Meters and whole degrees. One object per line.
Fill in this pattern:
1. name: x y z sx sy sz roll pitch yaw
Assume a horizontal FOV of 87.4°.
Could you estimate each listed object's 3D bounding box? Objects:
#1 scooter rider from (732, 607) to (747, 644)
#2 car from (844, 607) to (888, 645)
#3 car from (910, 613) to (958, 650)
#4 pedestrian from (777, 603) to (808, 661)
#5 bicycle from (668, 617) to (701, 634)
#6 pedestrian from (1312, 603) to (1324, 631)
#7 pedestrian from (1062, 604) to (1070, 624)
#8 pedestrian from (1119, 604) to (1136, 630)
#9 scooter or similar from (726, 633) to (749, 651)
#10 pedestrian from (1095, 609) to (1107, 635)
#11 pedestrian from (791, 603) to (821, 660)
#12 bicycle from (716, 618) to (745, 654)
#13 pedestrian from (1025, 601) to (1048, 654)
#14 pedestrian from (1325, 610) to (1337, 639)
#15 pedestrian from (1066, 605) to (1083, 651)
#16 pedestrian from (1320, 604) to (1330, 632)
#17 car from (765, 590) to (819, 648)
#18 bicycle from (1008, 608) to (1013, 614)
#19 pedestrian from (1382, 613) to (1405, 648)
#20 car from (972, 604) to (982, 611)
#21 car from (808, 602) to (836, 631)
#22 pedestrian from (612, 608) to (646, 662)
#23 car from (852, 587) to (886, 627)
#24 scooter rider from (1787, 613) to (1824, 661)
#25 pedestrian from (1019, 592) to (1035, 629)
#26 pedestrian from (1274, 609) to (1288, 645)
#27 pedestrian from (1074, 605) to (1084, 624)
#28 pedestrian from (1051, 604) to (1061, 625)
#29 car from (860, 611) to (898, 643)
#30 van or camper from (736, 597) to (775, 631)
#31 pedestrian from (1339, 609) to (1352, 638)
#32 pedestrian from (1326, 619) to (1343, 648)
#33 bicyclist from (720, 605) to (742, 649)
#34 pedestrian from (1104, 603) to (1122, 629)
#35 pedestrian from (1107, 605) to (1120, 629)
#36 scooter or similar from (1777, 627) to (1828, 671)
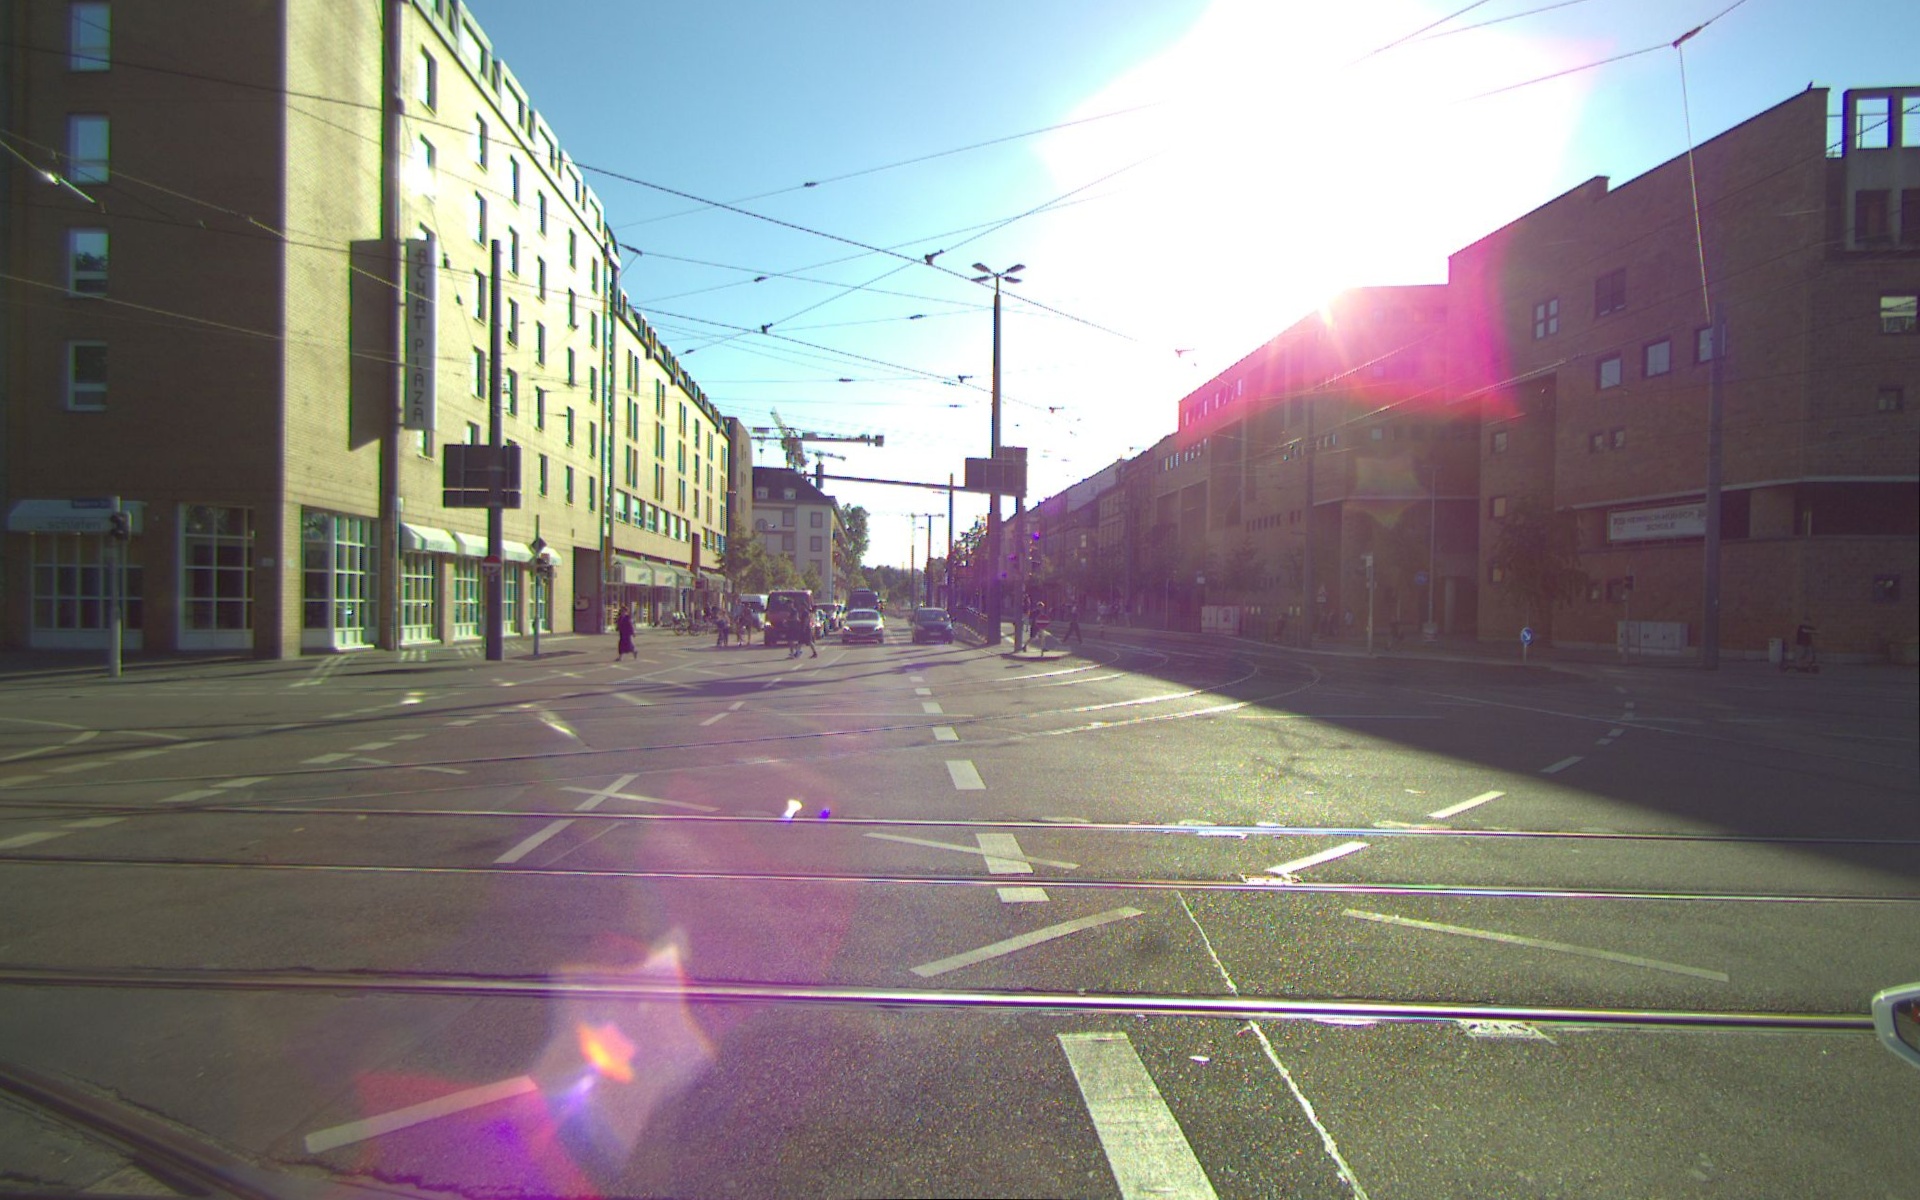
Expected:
1. scooter rider: -10.788 1.252 49.158 0.523 1.778 0.571 0 0 19
2. car: -4.280 1.142 45.219 1.857 1.553 3.995 0 0 -7
3. car: -1.169 1.340 44.093 1.730 1.467 3.995 0 0 -7
4. pedestrian: -5.078 0.970 30.458 0.629 1.740 0.778 0 0 23
5. bicycle: -15.618 1.446 57.028 1.695 0.993 0.642 0 0 13
6. pedestrian: 22.603 1.053 63.404 0.528 1.779 0.464 0 0 -7
7. pedestrian: 9.026 1.193 85.481 0.497 1.755 0.651 0 0 -6
8. pedestrian: 10.621 1.076 63.764 0.874 1.694 0.671 0 0 -7
9. scooter or similar: -10.833 2.063 49.014 0.534 0.842 1.239 0 0 19
10. pedestrian: 9.421 1.477 66.987 0.646 1.694 0.671 0 0 -7
11. pedestrian: -4.809 0.982 31.371 0.629 1.740 0.778 0 0 23
12. bicycle: -9.553 1.489 41.931 0.915 1.461 2.101 0 -1 -6
13. pedestrian: 2.535 0.903 33.305 0.613 1.724 0.748 0 0 -9
14. pedestrian: 23.098 1.530 62.502 0.527 1.779 0.696 0 0 5
15. pedestrian: 4.405 1.064 38.679 0.628 1.740 0.778 0 0 8
16. pedestrian: 23.286 1.156 64.094 0.527 1.779 0.422 0 0 -2
17. car: -7.132 0.808 43.035 2.046 2.319 5.259 0 -1 -7
18. bicycle: 10.983 2.412 218.346 0.650 1.421 2.350 0 1 -6
19. pedestrian: 19.383 1.352 44.943 0.701 1.559 0.852 0 0 3
20. car: 3.813 1.592 223.376 1.820 1.477 4.153 0 0 -4
21. car: -9.578 1.139 69.751 1.857 1.892 4.310 0 1 -7
22. pedestrian: -9.970 1.043 30.276 0.859 1.574 0.541 0 0 -32
23. car: -5.623 0.424 61.890 2.014 2.389 4.915 0 0 -6
24. scooter rider: 26.349 1.140 31.305 0.499 1.480 0.720 0 0 -13
25. pedestrian: 3.122 0.489 46.829 0.666 1.706 0.576 0 0 -1
26. pedestrian: 13.758 1.146 43.073 0.481 1.559 0.551 0 0 9
27. pedestrian: 9.657 1.165 81.661 0.662 1.583 0.905 0 0 -6
28. pedestrian: 8.109 1.196 84.724 0.708 1.755 0.651 0 0 -6
29. car: -4.395 1.407 54.004 1.857 1.553 3.995 0 0 -7
30. van or camper: -14.720 0.955 72.541 1.962 2.199 5.611 0 1 -4
31. pedestrian: 23.782 1.447 61.955 0.527 1.779 0.696 0 0 5
32. pedestrian: 22.949 2.050 61.610 0.722 1.779 0.694 0 0 -10
33. bicyclist: -9.495 1.102 41.737 0.802 1.810 0.815 0 0 -6
34. pedestrian: 10.058 1.068 66.026 0.874 1.694 1.094 0 0 -7
35. pedestrian: 9.734 1.098 63.781 0.671 1.503 0.828 1 0 -4
36. scooter or similar: 26.324 1.523 31.400 0.520 1.335 1.129 0 0 -13
